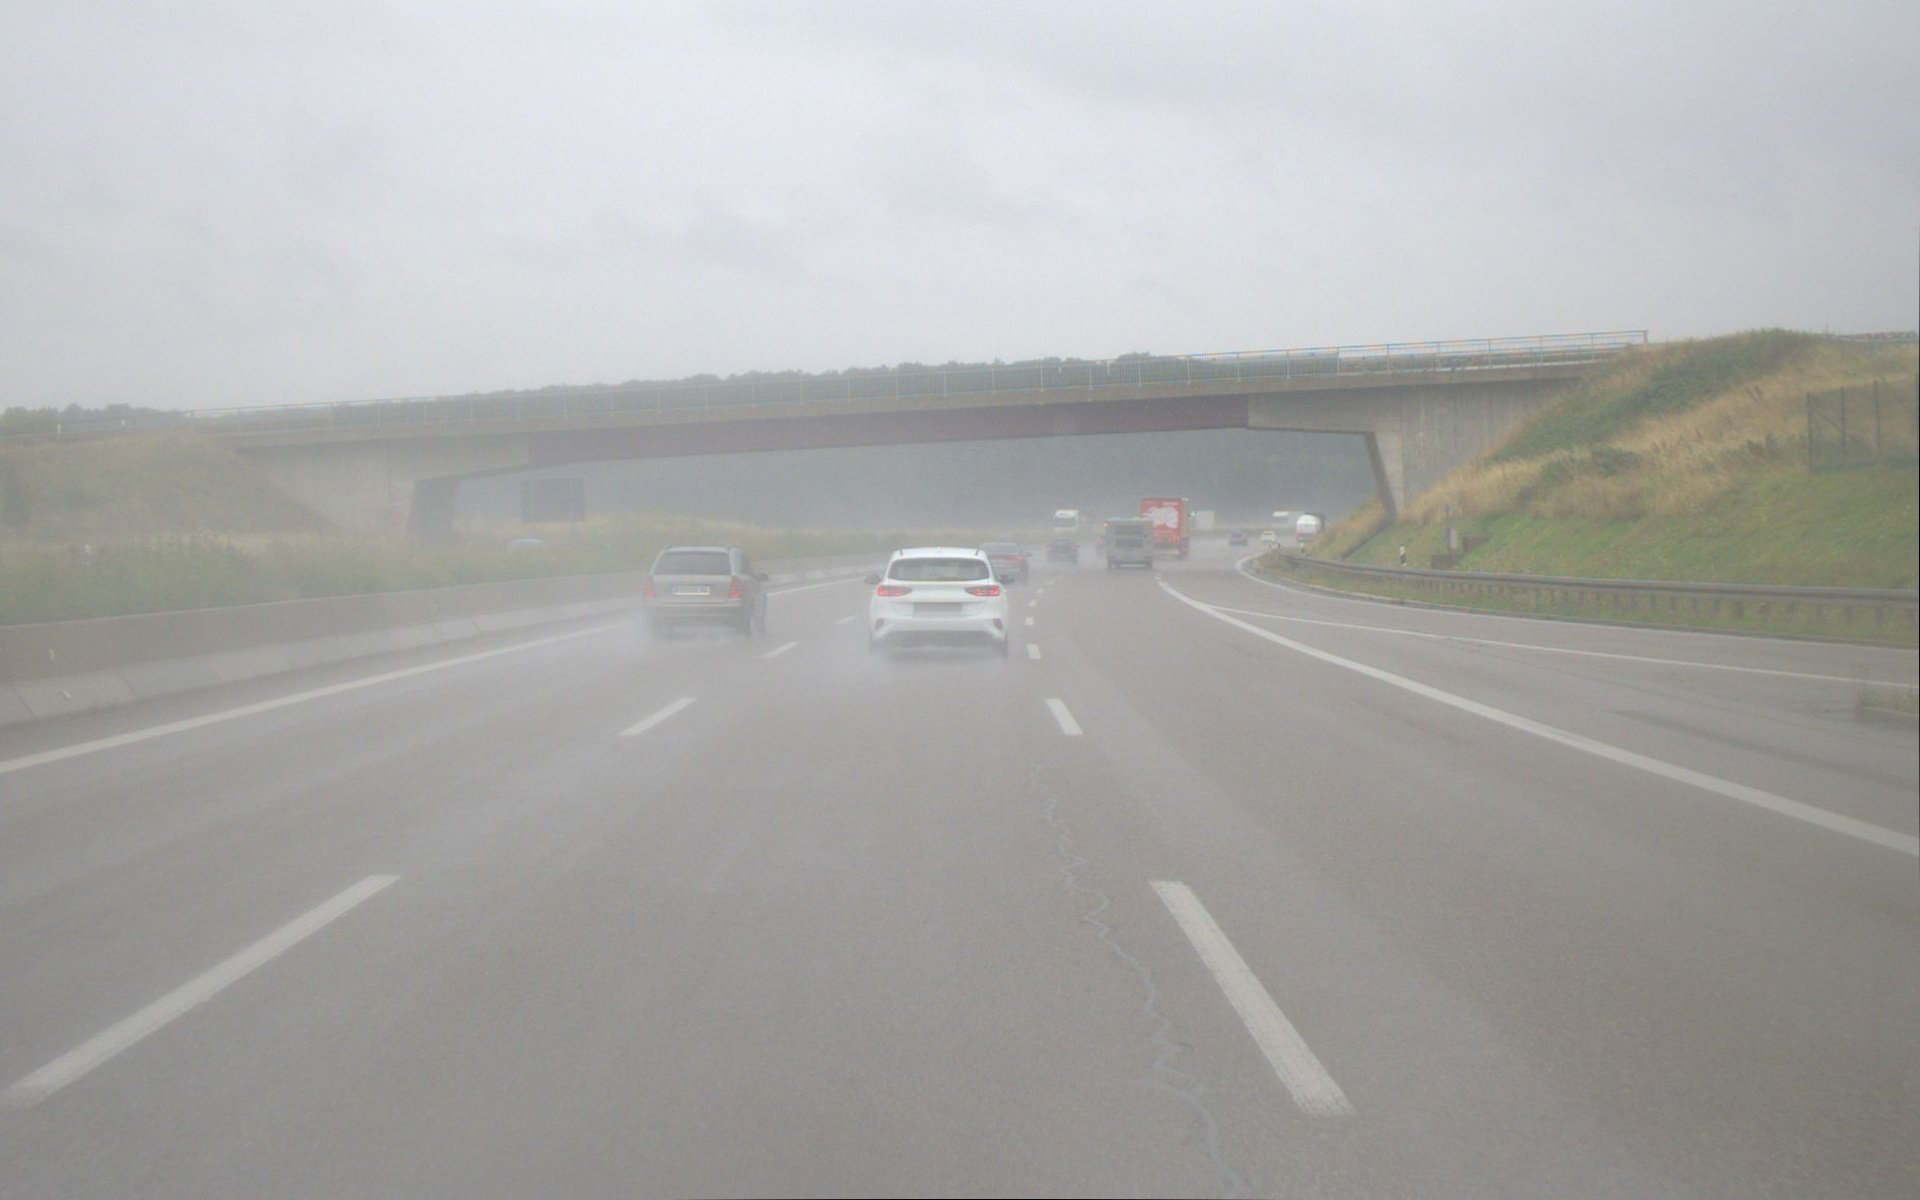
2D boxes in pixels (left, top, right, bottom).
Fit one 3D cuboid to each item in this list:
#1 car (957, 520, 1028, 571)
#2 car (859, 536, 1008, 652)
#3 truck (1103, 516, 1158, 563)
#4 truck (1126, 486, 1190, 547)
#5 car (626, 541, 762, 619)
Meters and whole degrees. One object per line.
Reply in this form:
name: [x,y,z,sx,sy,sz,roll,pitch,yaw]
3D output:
car: [1.075,-1.760,110.691,1.994,1.612,4.000,0,1,5]
car: [-0.384,-0.096,45.450,1.867,1.458,4.000,0,1,-1]
truck: [8.455,-3.006,170.357,2.408,2.244,4.692,0,1,7]
truck: [12.802,-5.468,223.306,3.527,3.730,11.427,1,2,0]
car: [-4.148,-0.305,54.132,1.823,1.152,4.213,1,0,0]
